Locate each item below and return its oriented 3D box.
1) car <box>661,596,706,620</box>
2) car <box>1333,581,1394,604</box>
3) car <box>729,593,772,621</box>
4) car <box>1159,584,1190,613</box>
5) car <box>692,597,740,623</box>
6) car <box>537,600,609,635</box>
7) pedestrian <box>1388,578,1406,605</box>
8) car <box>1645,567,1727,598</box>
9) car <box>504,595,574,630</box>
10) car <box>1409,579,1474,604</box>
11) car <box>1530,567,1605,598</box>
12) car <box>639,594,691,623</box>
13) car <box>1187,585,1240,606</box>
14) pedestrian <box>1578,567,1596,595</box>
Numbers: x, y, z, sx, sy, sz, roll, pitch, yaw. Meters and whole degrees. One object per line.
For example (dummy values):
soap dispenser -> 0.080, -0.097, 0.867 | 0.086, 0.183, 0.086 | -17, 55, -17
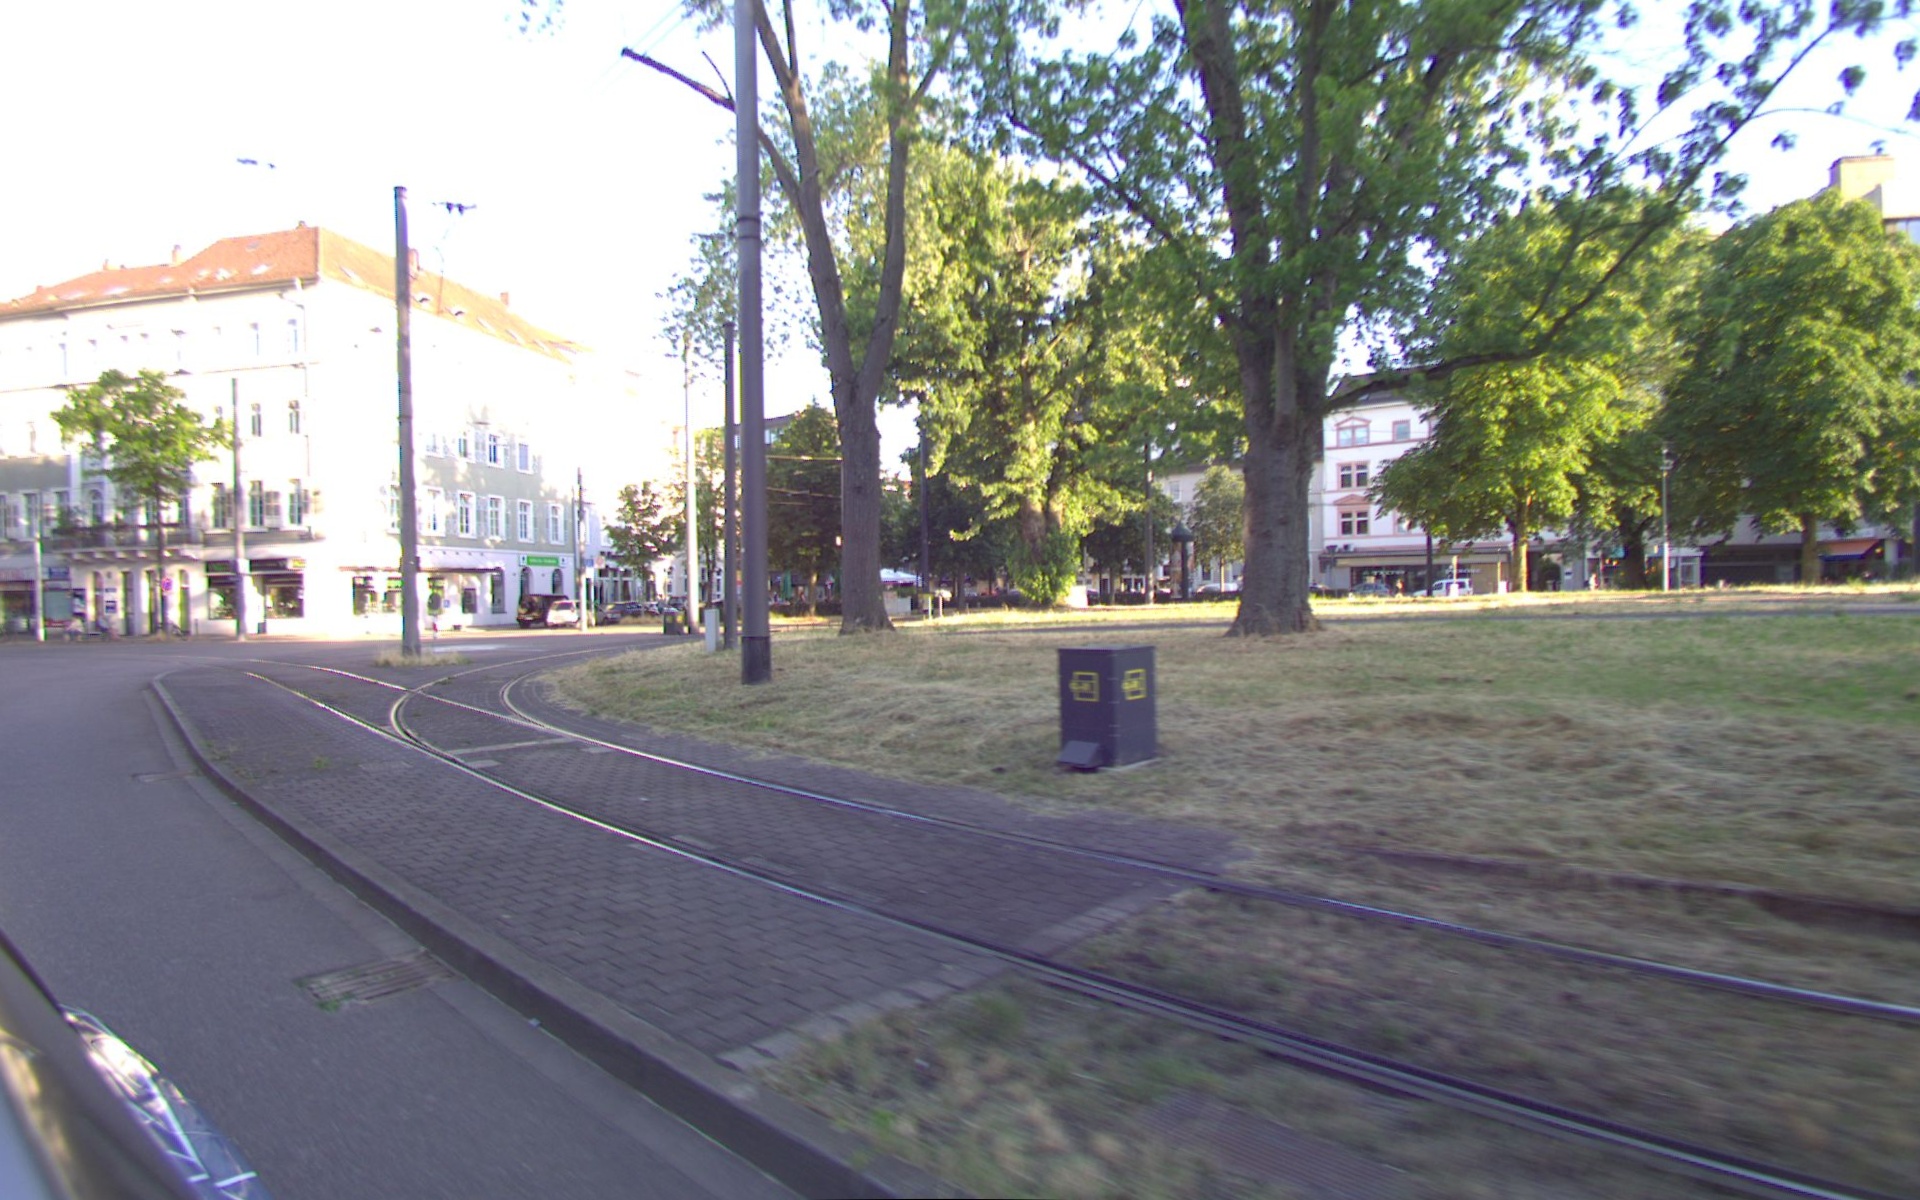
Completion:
car -> -20.924, 0.567, 76.710 | 1.838, 1.719, 3.989 | -2, 0, 9
car -> 31.031, -0.553, 77.841 | 3.996, 1.592, 1.774 | -2, 0, 39
car -> -15.636, 0.499, 75.809 | 1.838, 2.014, 3.989 | -2, 0, 9
car -> 16.122, -0.108, 76.083 | 1.982, 2.029, 3.980 | -2, 0, 15
car -> -16.835, 0.655, 69.999 | 1.838, 1.719, 3.989 | -2, 0, 9
car -> -20.663, 0.892, 54.238 | 1.838, 1.719, 3.989 | -2, 0, 9
pedestrian -> 27.973, -0.561, 64.762 | 0.799, 1.714, 0.790 | -2, 0, 37
car -> 46.995, -1.139, 65.623 | 4.200, 1.808, 1.916 | -2, 0, 36
car -> -24.588, 0.724, 59.316 | 1.977, 1.918, 3.989 | -2, 0, 9
car -> 35.465, -0.644, 74.572 | 3.991, 1.676, 1.739 | -2, 0, 36
car -> 41.649, -1.194, 69.417 | 4.200, 1.959, 1.739 | -2, 0, 36
car -> -20.639, 0.588, 70.942 | 1.977, 1.918, 3.989 | -2, 0, 9
car -> 21.410, -0.345, 85.532 | 3.996, 1.592, 1.774 | -2, 0, 39
pedestrian -> 39.665, -1.183, 64.000 | 0.799, 1.714, 0.789 | -2, 1, 40
